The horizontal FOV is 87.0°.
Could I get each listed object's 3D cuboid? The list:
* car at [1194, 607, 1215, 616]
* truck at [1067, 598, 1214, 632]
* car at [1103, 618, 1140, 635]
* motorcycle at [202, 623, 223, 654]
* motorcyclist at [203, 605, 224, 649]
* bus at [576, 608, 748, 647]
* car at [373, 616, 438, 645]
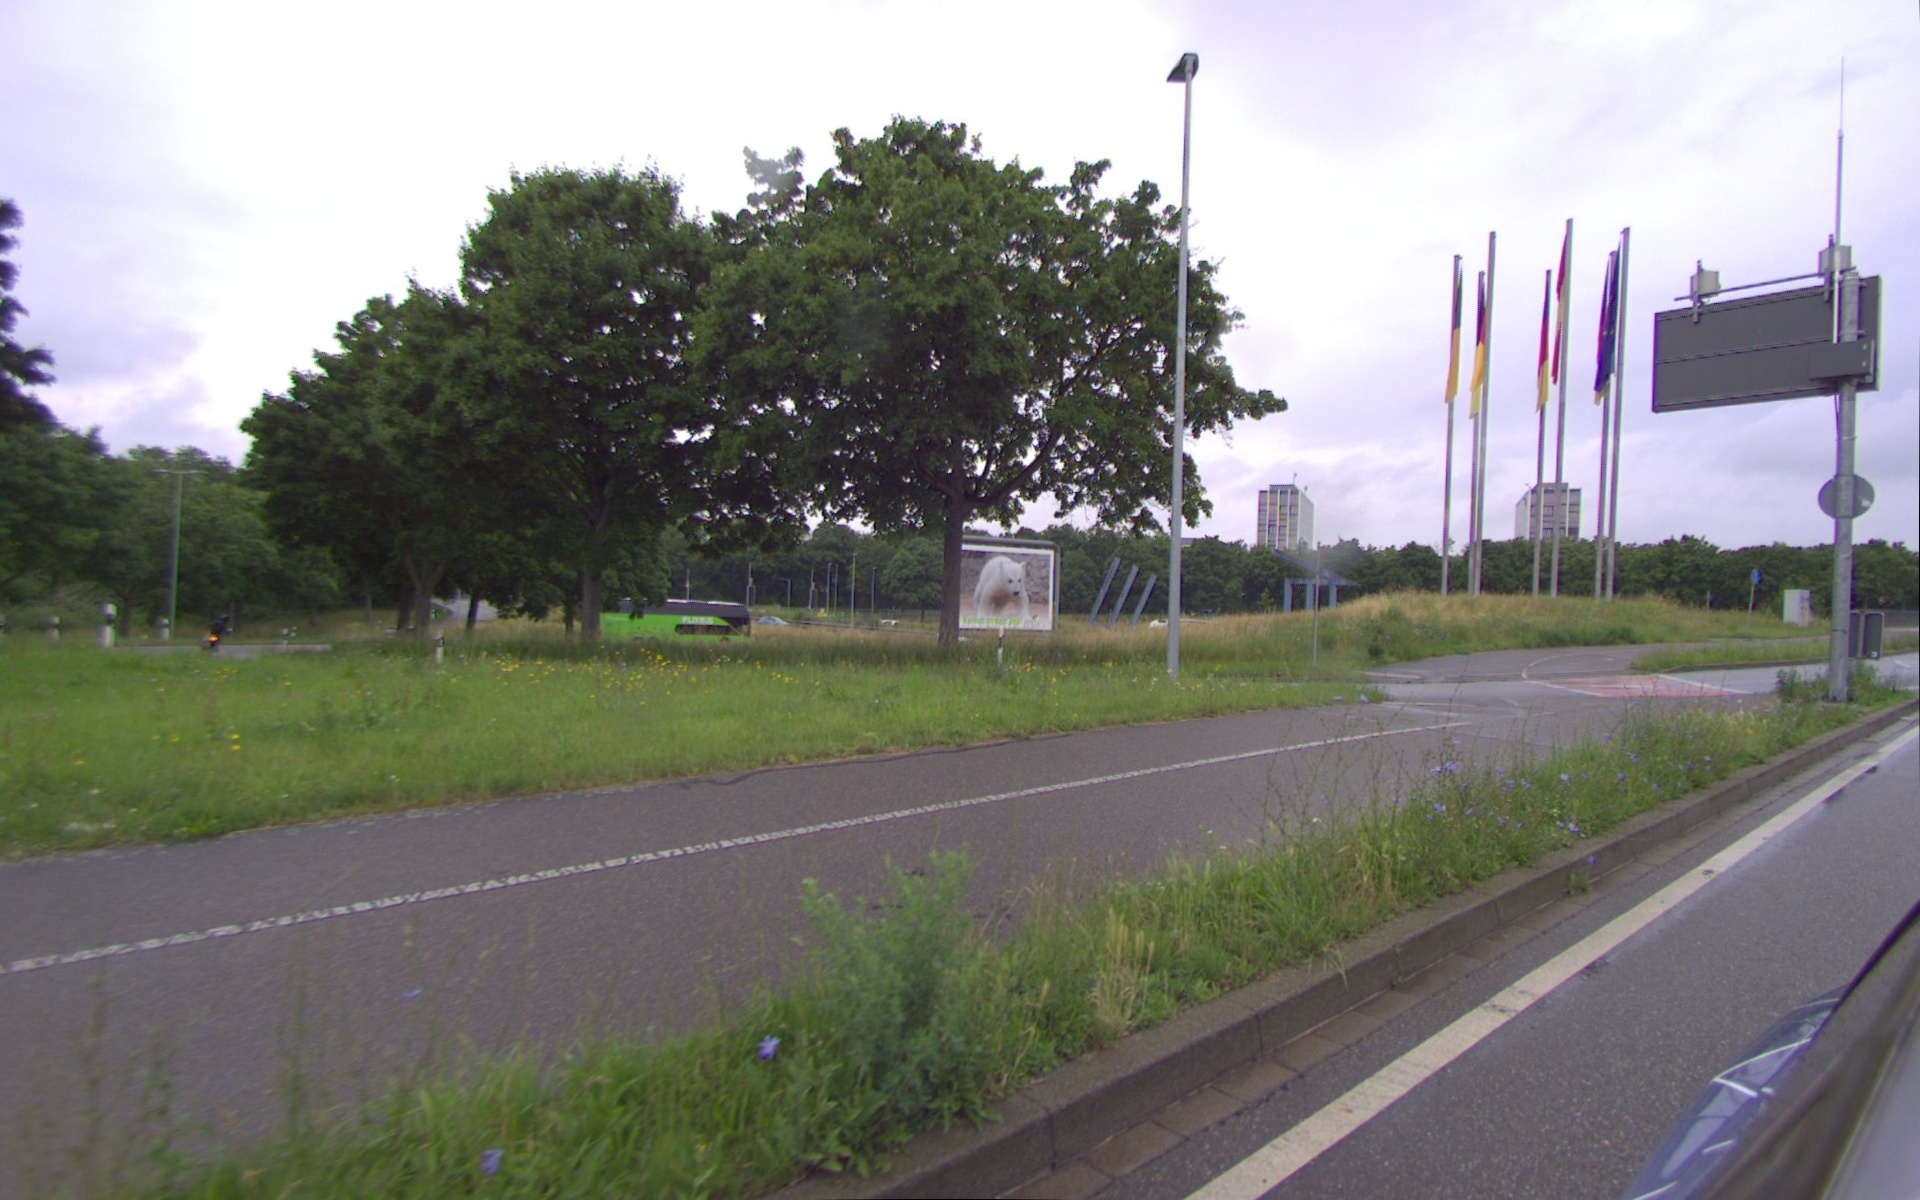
[{"bbox_3d":[47.336,2.280,195.866,3.940,1.652,1.992,1,0,14],"label":"car"},{"bbox_3d":[19.810,1.594,112.127,16.119,3.433,2.721,1,0,29],"label":"truck"},{"bbox_3d":[19.111,3.078,119.712,3.963,1.854,1.822,1,0,29],"label":"car"},{"bbox_3d":[-29.857,1.534,40.432,0.592,1.107,1.730,1,1,-39],"label":"motorcycle"},{"bbox_3d":[-29.823,1.056,40.430,0.592,1.711,0.859,1,1,-39],"label":"motorcyclist"},{"bbox_3d":[-24.222,2.154,83.476,2.752,2.713,14.373,1,1,41],"label":"bus"},{"bbox_3d":[-34.384,1.867,62.913,1.825,1.638,3.999,0,0,0],"label":"car"}]
